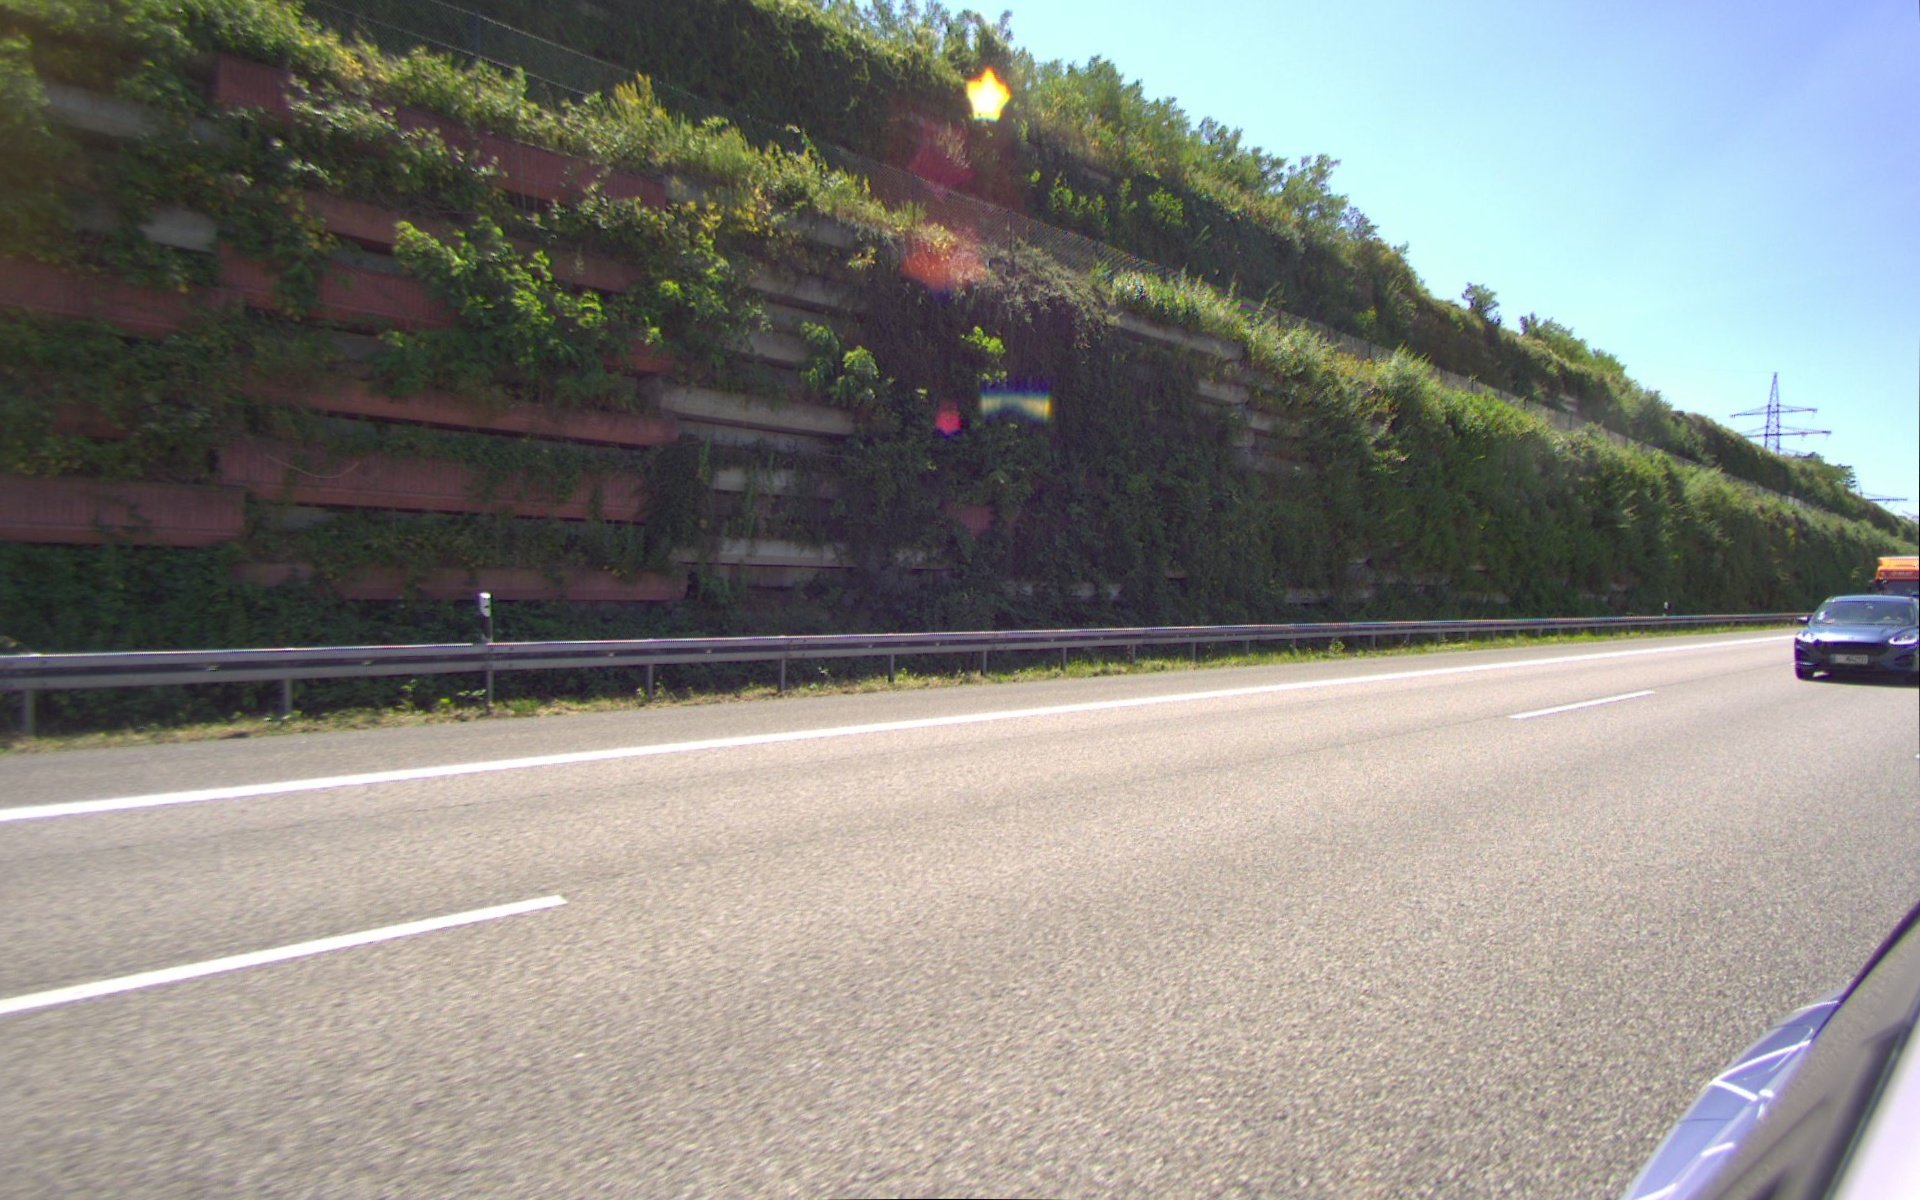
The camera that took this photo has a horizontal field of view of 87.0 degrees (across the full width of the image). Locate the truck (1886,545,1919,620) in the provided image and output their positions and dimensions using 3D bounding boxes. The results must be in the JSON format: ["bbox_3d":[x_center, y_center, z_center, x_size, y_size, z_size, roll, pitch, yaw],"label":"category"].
[{"bbox_3d":[53.691,-0.941,56.220,6.413,4.042,2.622,0,1,-42],"label":"truck"}]

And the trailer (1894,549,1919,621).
[{"bbox_3d":[59.002,-0.827,60.999,13.370,4.055,2.649,0,1,-42],"label":"trailer"}]

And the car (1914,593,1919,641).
[{"bbox_3d":[32.555,0.564,33.020,3.926,1.544,1.752,0,1,-42],"label":"car"}]

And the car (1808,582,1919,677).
[{"bbox_3d":[18.179,0.514,19.826,4.066,1.674,1.797,0,1,-41],"label":"car"}]
